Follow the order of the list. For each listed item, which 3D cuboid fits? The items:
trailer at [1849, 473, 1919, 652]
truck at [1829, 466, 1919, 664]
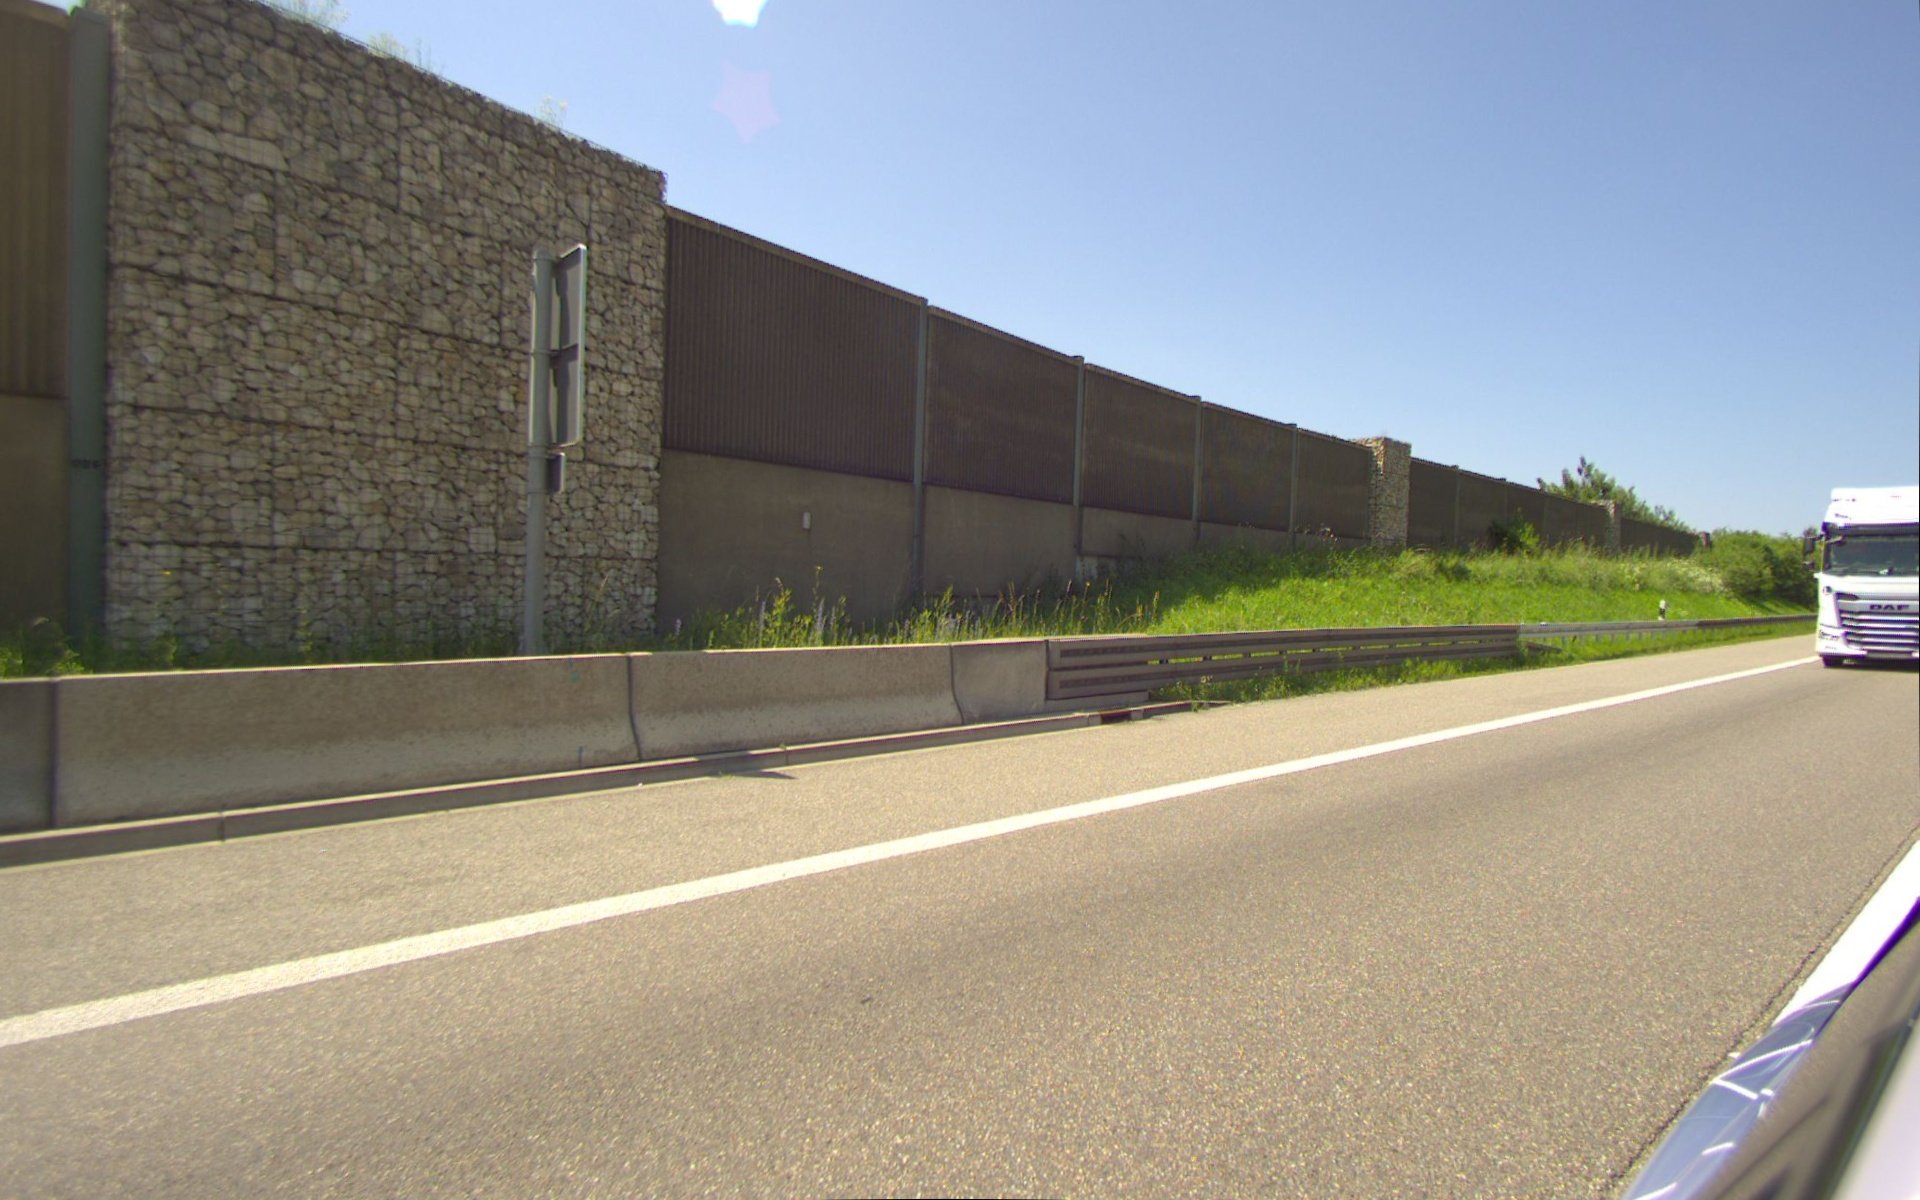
[{"bbox_3d":[26.542,-0.869,27.275,13.424,4.027,2.481,0,1,-43],"label":"trailer"},{"bbox_3d":[21.725,-0.724,22.836,6.273,4.027,2.481,0,1,-43],"label":"truck"}]
